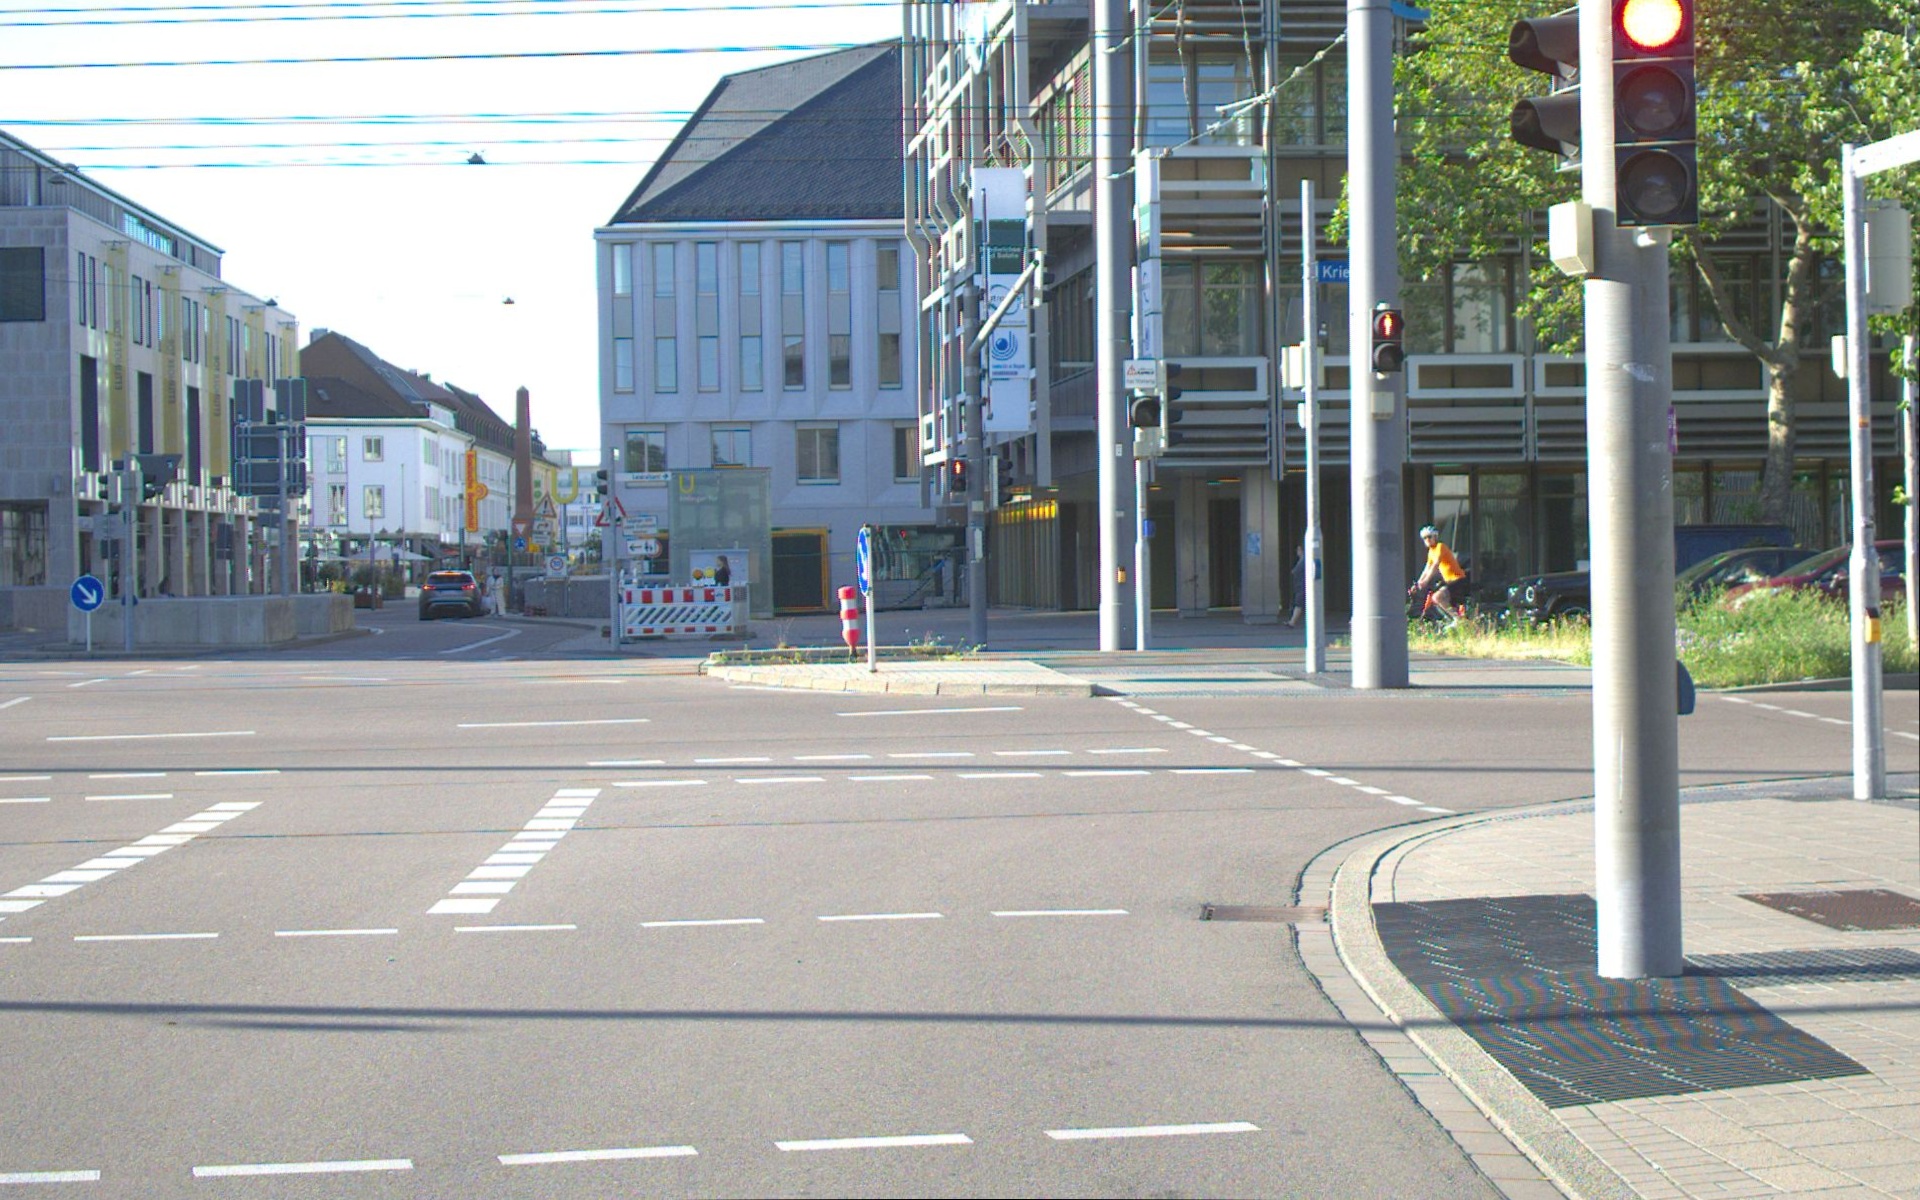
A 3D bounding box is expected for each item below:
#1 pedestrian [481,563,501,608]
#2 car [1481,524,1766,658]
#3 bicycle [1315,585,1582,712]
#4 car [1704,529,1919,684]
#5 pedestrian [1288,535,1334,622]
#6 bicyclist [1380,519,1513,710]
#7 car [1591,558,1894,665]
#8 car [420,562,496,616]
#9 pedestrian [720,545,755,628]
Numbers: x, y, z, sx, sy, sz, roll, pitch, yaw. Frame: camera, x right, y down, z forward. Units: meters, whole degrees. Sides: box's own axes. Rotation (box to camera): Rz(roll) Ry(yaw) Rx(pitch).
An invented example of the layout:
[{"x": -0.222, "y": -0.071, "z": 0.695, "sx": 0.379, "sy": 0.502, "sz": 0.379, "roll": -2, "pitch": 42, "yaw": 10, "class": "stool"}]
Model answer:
[{"x": -14.719, "y": -0.465, "z": 107.927, "sx": 0.609, "sy": 1.406, "sz": 0.570, "roll": -1, "pitch": 1, "yaw": -6, "class": "pedestrian"}, {"x": 10.345, "y": -0.145, "z": 53.770, "sx": 3.986, "sy": 2.007, "sz": 2.000, "roll": 1, "pitch": 0, "yaw": -3, "class": "car"}, {"x": 6.694, "y": 0.647, "z": 47.138, "sx": 3.490, "sy": 1.653, "sz": 0.932, "roll": -1, "pitch": 1, "yaw": -9, "class": "bicycle"}, {"x": 12.288, "y": 0.086, "z": 46.402, "sx": 3.986, "sy": 2.007, "sz": 2.000, "roll": 1, "pitch": 0, "yaw": -3, "class": "car"}, {"x": 6.736, "y": -0.421, "z": 65.946, "sx": 0.729, "sy": 1.652, "sz": 0.651, "roll": -1, "pitch": 1, "yaw": -7, "class": "pedestrian"}, {"x": 6.662, "y": 0.188, "z": 47.132, "sx": 1.567, "sy": 2.571, "sz": 0.932, "roll": -1, "pitch": 1, "yaw": -9, "class": "bicyclist"}, {"x": 11.494, "y": 0.156, "z": 50.653, "sx": 3.986, "sy": 1.503, "sz": 1.868, "roll": 0, "pitch": 1, "yaw": -3, "class": "car"}, {"x": -15.809, "y": -0.354, "z": 108.414, "sx": 2.199, "sy": 1.601, "sz": 4.327, "roll": -1, "pitch": 1, "yaw": -6, "class": "car"}, {"x": -4.481, "y": -0.283, "z": 69.220, "sx": 0.663, "sy": 1.652, "sz": 0.755, "roll": -1, "pitch": 1, "yaw": -3, "class": "pedestrian"}]
